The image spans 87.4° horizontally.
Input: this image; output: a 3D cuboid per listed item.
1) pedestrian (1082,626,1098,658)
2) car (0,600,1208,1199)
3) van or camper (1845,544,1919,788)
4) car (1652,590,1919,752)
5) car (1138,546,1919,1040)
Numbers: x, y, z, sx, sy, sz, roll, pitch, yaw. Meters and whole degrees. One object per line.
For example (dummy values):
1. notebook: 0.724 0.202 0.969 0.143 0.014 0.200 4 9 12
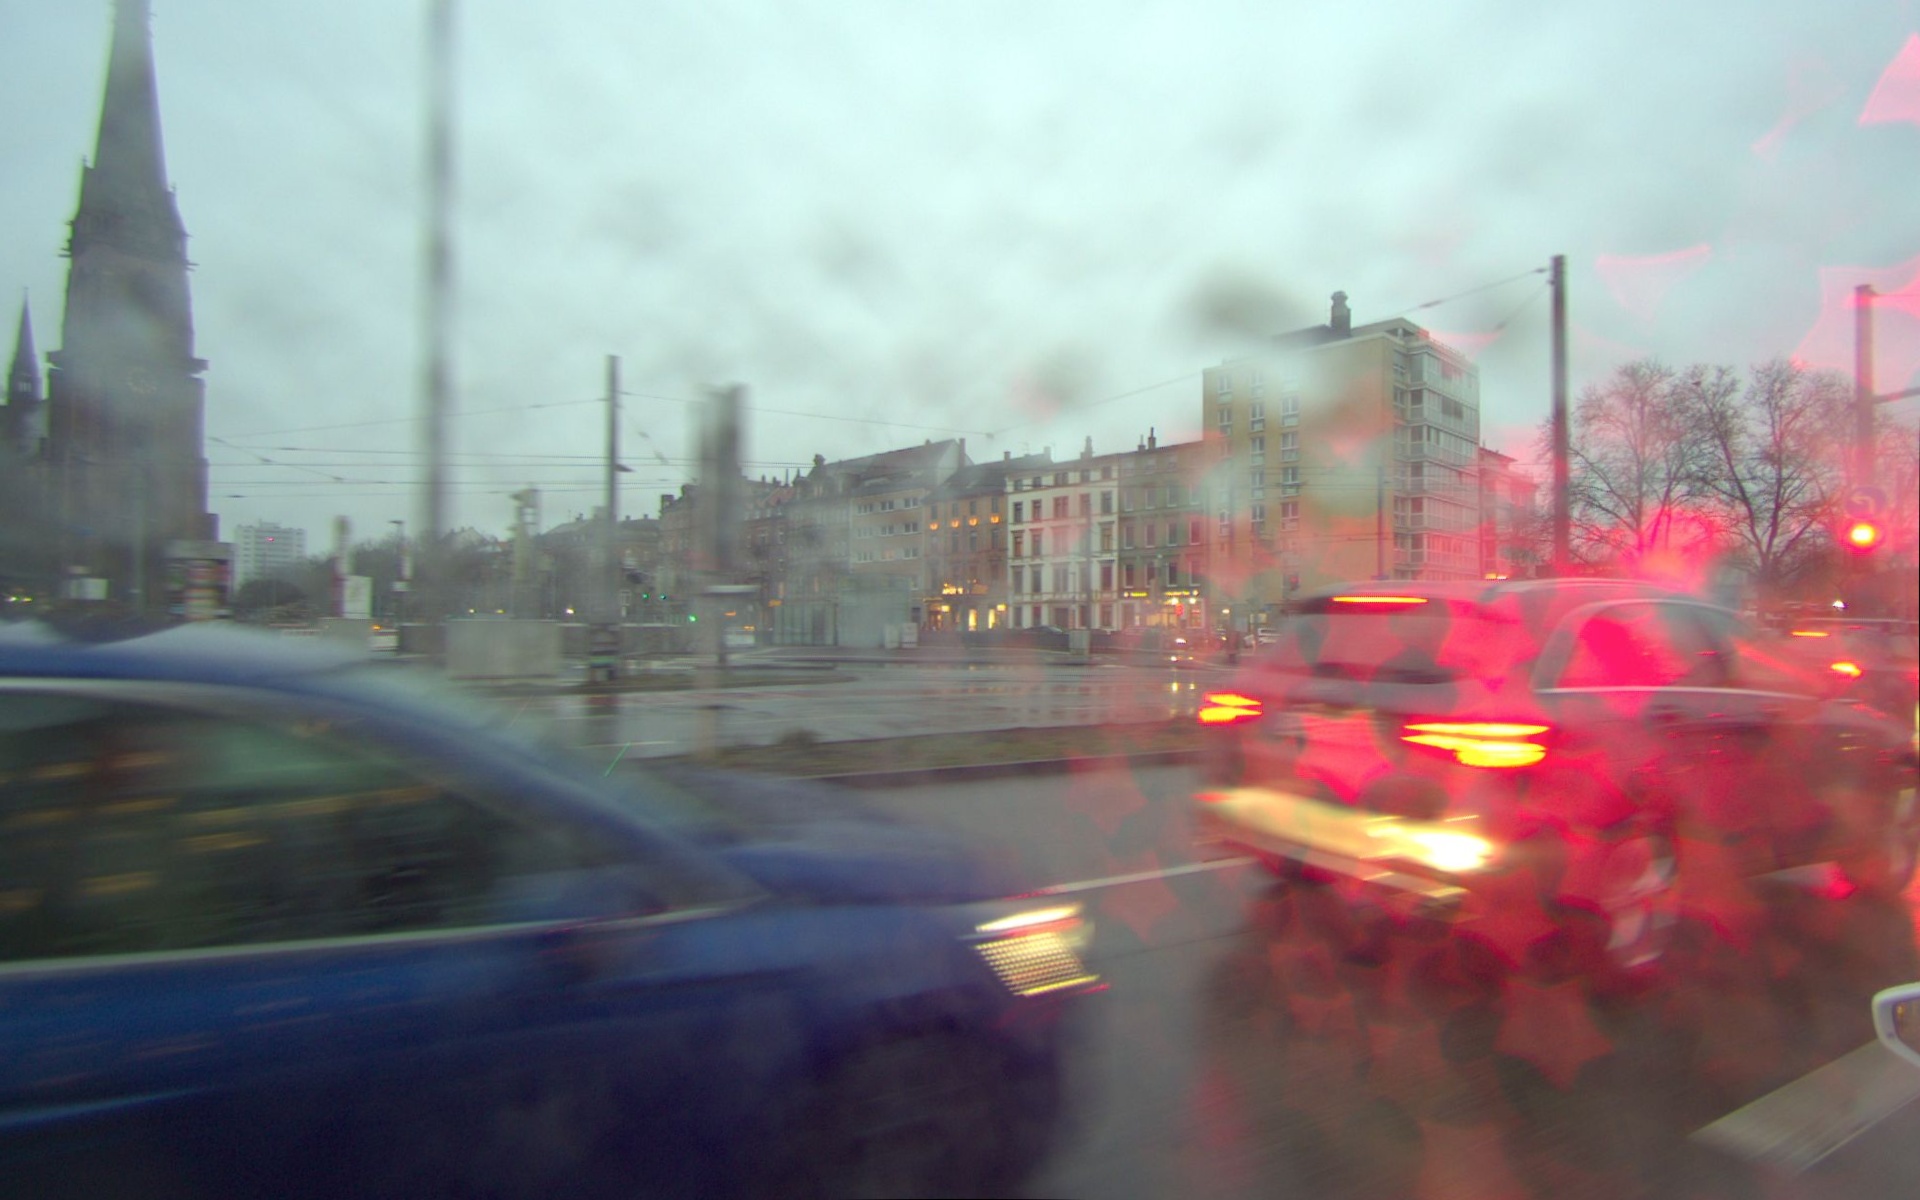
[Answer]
1. pedestrian: 7.266 2.338 55.986 0.687 1.718 0.573 -1 -2 45
2. car: -1.561 0.733 1.956 4.077 1.423 1.649 2 0 -34
3. van or camper: 10.859 0.635 9.441 4.924 2.137 2.193 1 0 -28
4. car: 10.985 0.840 12.987 3.953 1.795 1.876 1 -1 -30
5. car: 3.246 0.666 5.214 4.489 1.622 1.776 1 1 -31
